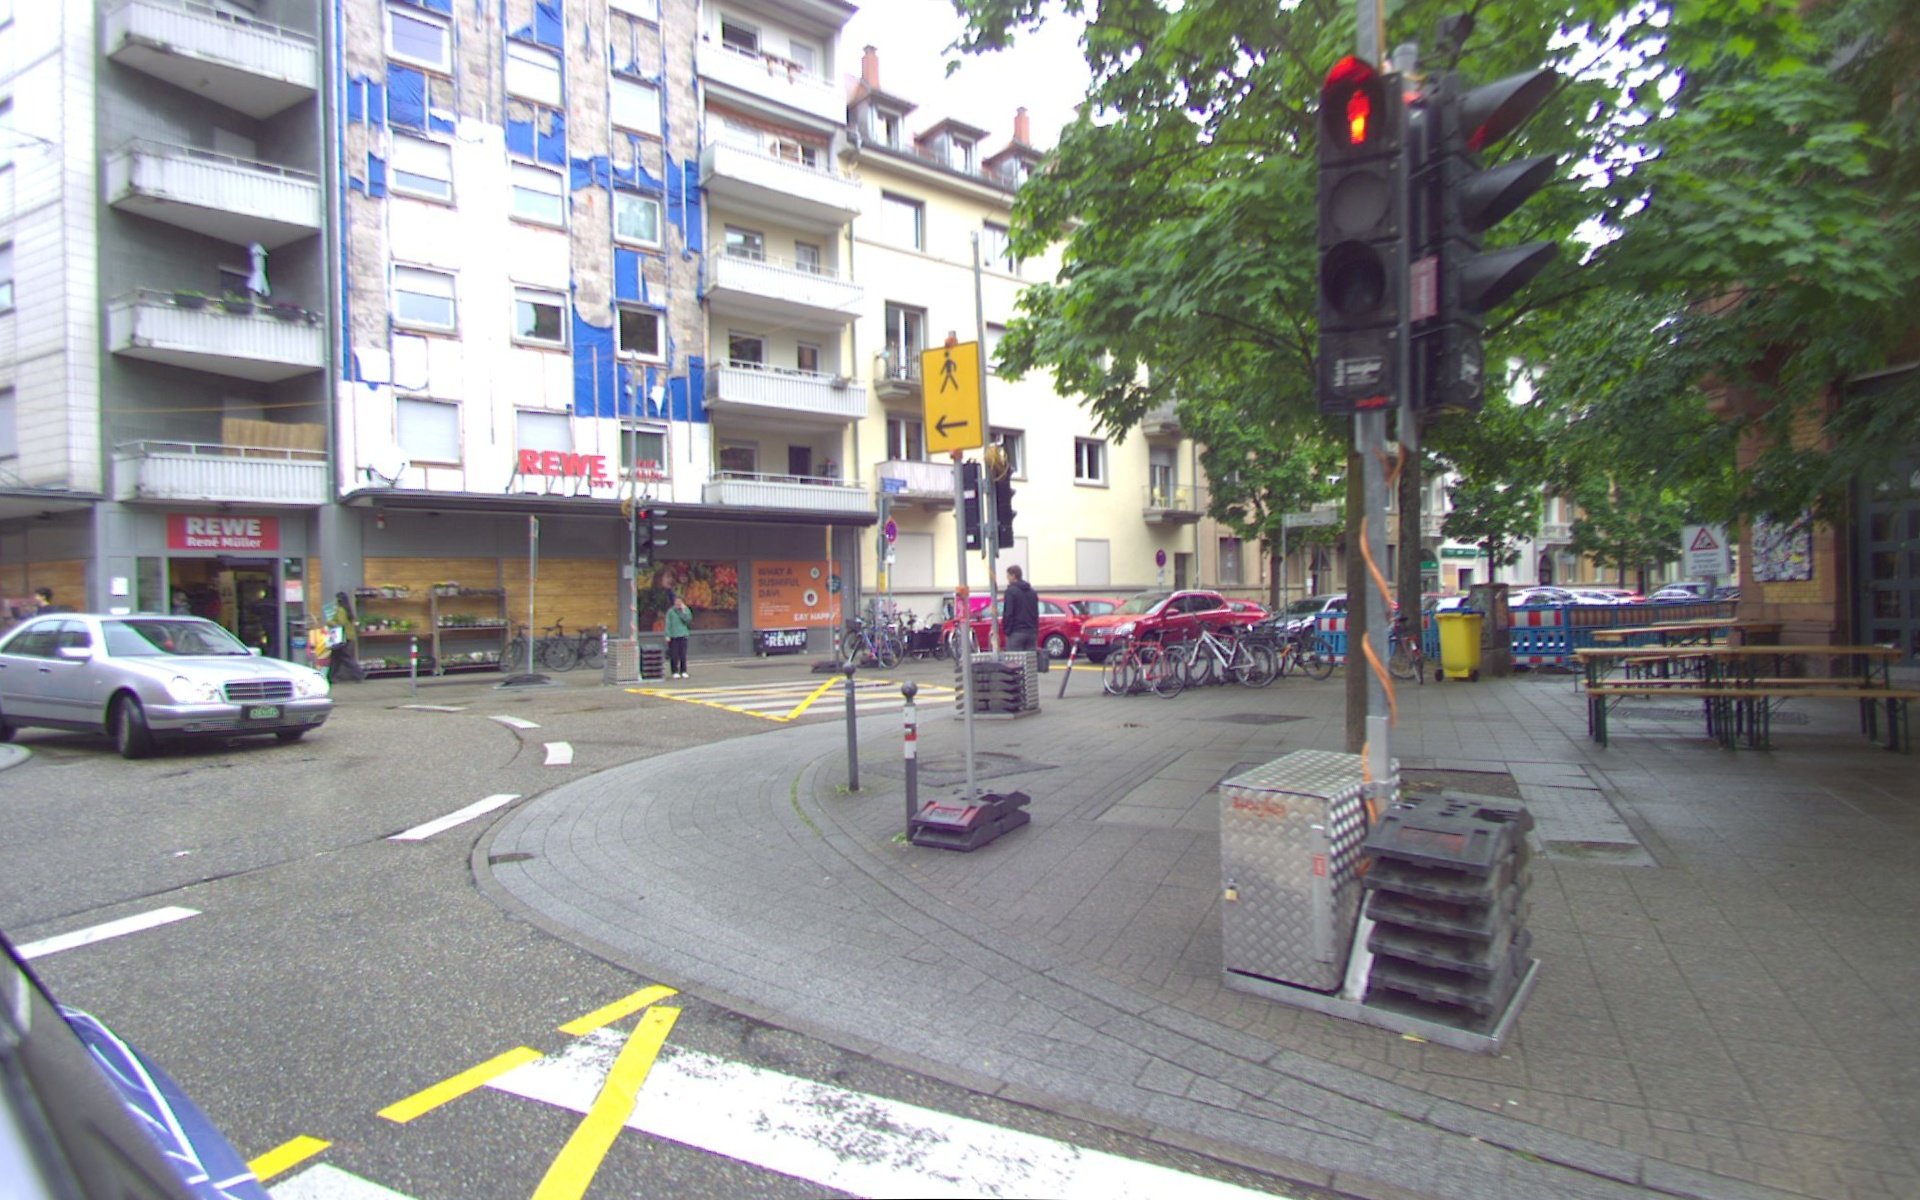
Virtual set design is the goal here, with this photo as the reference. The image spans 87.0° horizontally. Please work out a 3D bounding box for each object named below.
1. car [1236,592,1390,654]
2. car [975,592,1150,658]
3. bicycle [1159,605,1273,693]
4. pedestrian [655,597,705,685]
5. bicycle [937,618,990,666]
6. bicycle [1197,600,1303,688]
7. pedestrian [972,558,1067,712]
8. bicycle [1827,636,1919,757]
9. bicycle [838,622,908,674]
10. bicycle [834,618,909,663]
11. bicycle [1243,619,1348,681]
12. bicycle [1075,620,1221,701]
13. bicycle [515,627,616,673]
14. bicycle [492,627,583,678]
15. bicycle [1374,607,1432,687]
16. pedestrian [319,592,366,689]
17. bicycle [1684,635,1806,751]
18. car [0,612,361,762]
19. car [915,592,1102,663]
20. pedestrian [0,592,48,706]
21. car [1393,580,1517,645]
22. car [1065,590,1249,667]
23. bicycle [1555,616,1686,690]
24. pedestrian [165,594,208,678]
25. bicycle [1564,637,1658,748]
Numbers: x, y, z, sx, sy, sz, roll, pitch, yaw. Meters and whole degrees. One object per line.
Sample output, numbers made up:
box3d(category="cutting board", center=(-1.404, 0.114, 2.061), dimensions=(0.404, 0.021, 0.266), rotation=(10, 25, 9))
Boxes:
box3d(category="car", center=(9.697, 0.605, 27.675), dimensions=(4.316, 1.488, 1.847), rotation=(-2, -1, -37))
box3d(category="car", center=(2.844, 0.683, 27.982), dimensions=(4.427, 1.684, 1.986), rotation=(-2, 0, 21))
box3d(category="bicycle", center=(3.963, 0.763, 15.846), dimensions=(0.579, 1.285, 2.010), rotation=(-1, -2, -23))
box3d(category="pedestrian", center=(-5.387, 0.774, 19.457), dimensions=(0.786, 1.627, 0.607), rotation=(-2, 1, -29))
box3d(category="bicycle", center=(0.107, 0.953, 23.634), dimensions=(0.585, 0.978, 1.987), rotation=(0, 2, 21))
box3d(category="bicycle", center=(4.542, 0.699, 15.986), dimensions=(0.467, 1.285, 1.872), rotation=(-1, -2, -23))
box3d(category="pedestrian", center=(0.817, 0.458, 13.955), dimensions=(0.929, 2.029, 0.867), rotation=(-1, 0, -29))
box3d(category="bicycle", center=(7.402, 0.726, 7.979), dimensions=(0.403, 0.821, 1.385), rotation=(-2, 0, 22))
box3d(category="bicycle", center=(-1.890, 1.003, 21.824), dimensions=(0.580, 0.978, 2.007), rotation=(-1, 2, -34))
box3d(category="bicycle", center=(-2.156, 0.991, 24.982), dimensions=(0.589, 0.978, 1.973), rotation=(1, 2, 42))
box3d(category="bicycle", center=(5.583, 0.812, 16.940), dimensions=(0.579, 0.968, 1.728), rotation=(-1, -1, -28))
box3d(category="bicycle", center=(2.671, 0.858, 14.752), dimensions=(0.851, 1.052, 2.421), rotation=(-1, -2, -23))
box3d(category="bicycle", center=(-8.579, 1.086, 22.084), dimensions=(1.969, 0.978, 0.591), rotation=(0, -1, -8))
box3d(category="bicycle", center=(-8.852, 1.090, 21.249), dimensions=(1.665, 0.978, 0.569), rotation=(-2, 0, -8))
box3d(category="bicycle", center=(6.828, 0.681, 15.554), dimensions=(0.738, 1.100, 2.392), rotation=(-1, 0, 25))
box3d(category="pedestrian", center=(-11.740, 0.752, 19.267), dimensions=(0.682, 1.779, 0.867), rotation=(-1, 1, -29))
box3d(category="bicycle", center=(6.464, 0.732, 8.393), dimensions=(0.403, 0.821, 1.385), rotation=(-2, 0, 22))
box3d(category="car", center=(-9.387, 0.885, 11.423), dimensions=(4.943, 1.409, 1.848), rotation=(-1, -1, 21))
box3d(category="car", center=(1.272, 0.704, 26.197), dimensions=(4.427, 1.693, 1.986), rotation=(-2, 0, 21))
box3d(category="pedestrian", center=(-16.281, 0.830, 17.425), dimensions=(0.707, 1.911, 0.607), rotation=(-1, 1, -29))
box3d(category="car", center=(15.206, 0.366, 30.991), dimensions=(4.319, 1.811, 1.846), rotation=(-2, -1, -41))
box3d(category="car", center=(4.674, 0.626, 23.716), dimensions=(4.317, 1.652, 1.847), rotation=(0, -2, -39))
box3d(category="bicycle", center=(8.060, 0.622, 12.423), dimensions=(0.399, 0.821, 1.549), rotation=(-1, 0, -8))
box3d(category="pedestrian", center=(-15.136, 0.681, 19.813), dimensions=(0.536, 1.596, 0.696), rotation=(-1, 0, -29))
box3d(category="bicycle", center=(5.628, 0.766, 8.799), dimensions=(0.403, 0.821, 1.385), rotation=(-2, 0, 22))
